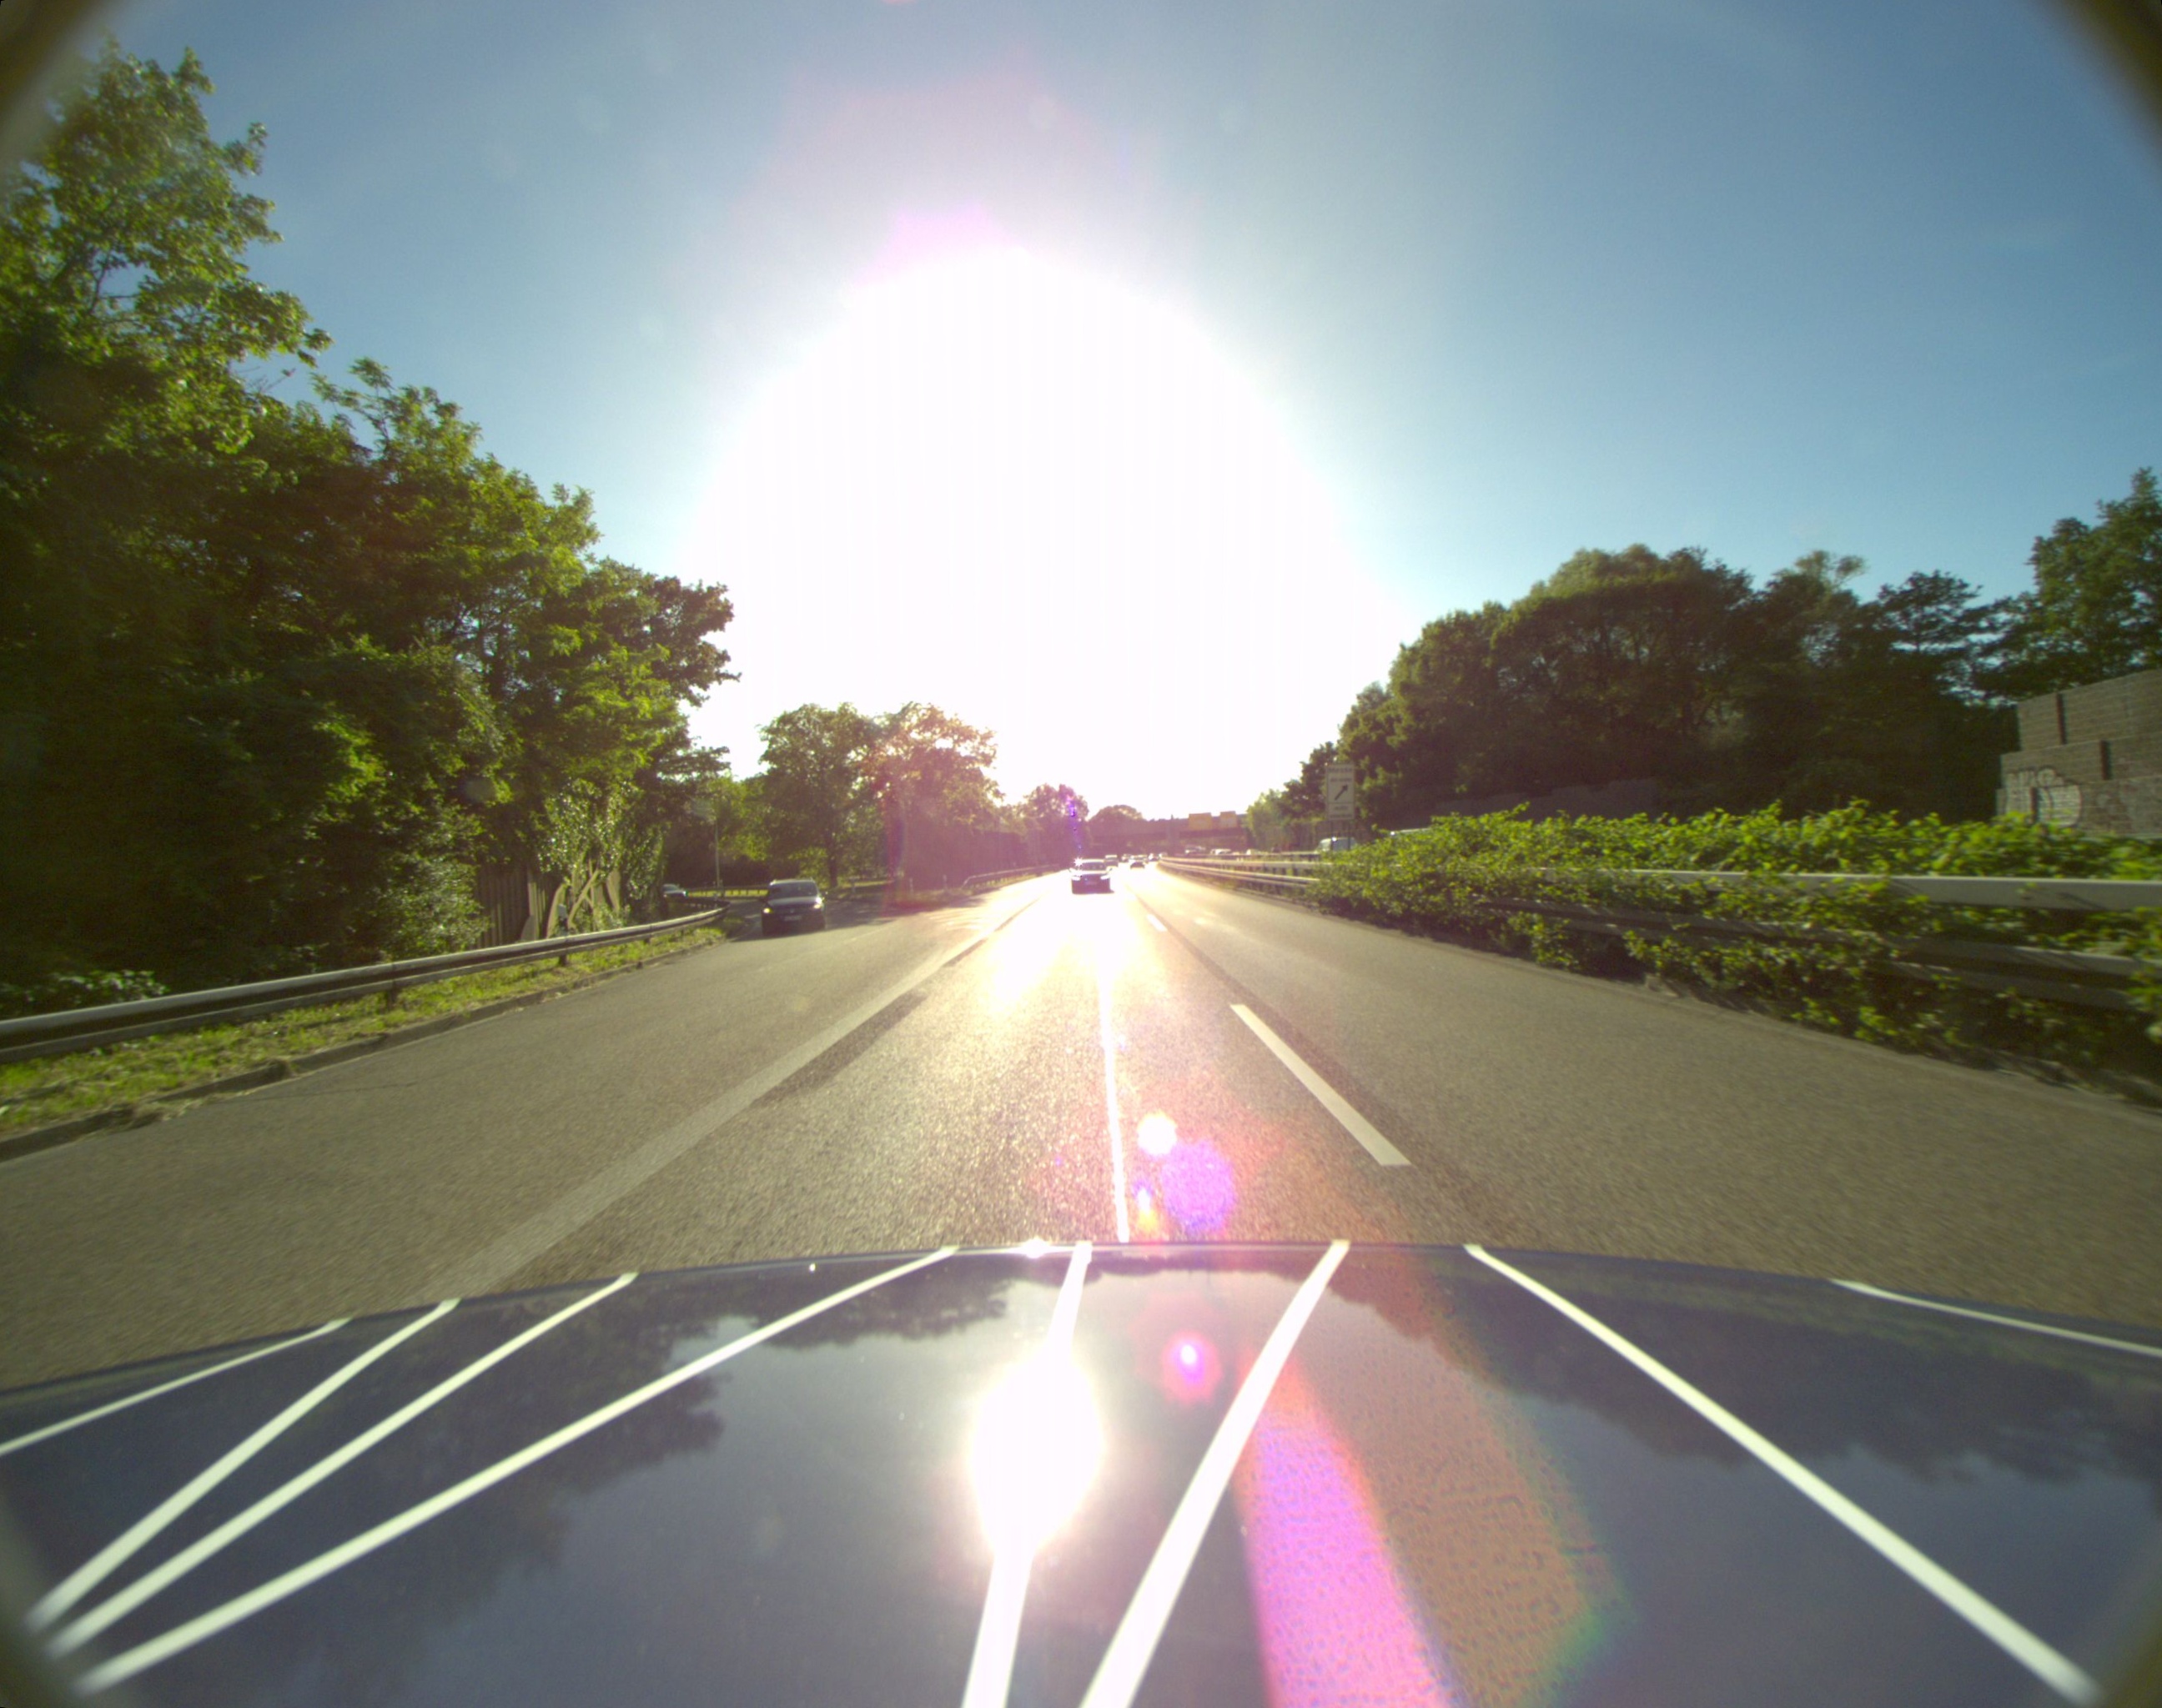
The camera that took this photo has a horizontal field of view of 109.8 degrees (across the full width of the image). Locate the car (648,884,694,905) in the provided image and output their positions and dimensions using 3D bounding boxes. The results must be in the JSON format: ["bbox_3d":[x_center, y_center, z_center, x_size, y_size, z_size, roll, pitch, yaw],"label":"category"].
[{"bbox_3d":[-30.814,3.070,57.048,3.990,1.277,1.645,-6,-1,40],"label":"car"}]

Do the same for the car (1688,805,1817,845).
[{"bbox_3d":[29.363,-1.260,33.422,4.087,1.326,2.006,-6,-1,38],"label":"car"}]

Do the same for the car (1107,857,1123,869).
[{"bbox_3d":[4.653,1.198,103.828,1.998,1.406,4.832,-4,0,4],"label":"car"}]

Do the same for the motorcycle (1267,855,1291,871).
[{"bbox_3d":[12.412,0.555,47.755,0.813,0.887,2.474,-5,-1,1],"label":"motorcycle"}]

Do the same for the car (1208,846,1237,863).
[{"bbox_3d":[13.424,0.079,72.132,1.826,1.471,4.622,-5,-1,1],"label":"car"}]

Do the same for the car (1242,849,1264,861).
[{"bbox_3d":[22.151,0.171,98.001,1.998,1.379,4.030,-5,-1,3],"label":"car"}]

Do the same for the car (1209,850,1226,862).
[{"bbox_3d":[21.459,0.323,119.577,1.906,1.610,4.697,-5,-1,3],"label":"car"}]

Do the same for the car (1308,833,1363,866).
[{"bbox_3d":[15.690,-0.253,47.032,1.826,1.810,4.622,-5,-1,2],"label":"car"}]

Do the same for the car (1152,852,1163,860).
[{"bbox_3d":[15.459,0.318,153.095,1.998,1.406,4.833,-4,0,6],"label":"car"}]

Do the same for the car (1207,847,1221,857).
[{"bbox_3d":[24.067,-0.328,137.572,1.998,1.586,4.623,-5,-1,5],"label":"car"}]

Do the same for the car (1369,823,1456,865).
[{"bbox_3d":[21.246,-0.589,48.985,2.084,2.267,5.369,-5,-1,-15],"label":"car"}]

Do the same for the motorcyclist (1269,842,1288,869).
[{"bbox_3d":[12.376,0.118,47.645,0.824,1.616,1.046,-5,0,1],"label":"motorcyclist"}]

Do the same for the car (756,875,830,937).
[{"bbox_3d":[-9.083,1.604,24.264,1.748,1.652,3.996,-5,-1,-16],"label":"car"}]

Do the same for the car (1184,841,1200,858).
[{"bbox_3d":[19.464,-0.757,133.217,2.126,2.667,6.590,-5,-1,5],"label":"car"}]

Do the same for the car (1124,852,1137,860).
[{"bbox_3d":[9.572,0.423,145.672,1.997,1.406,4.834,-4,0,9],"label":"car"}]

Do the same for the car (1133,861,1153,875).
[{"bbox_3d":[7.065,1.578,86.972,1.998,1.406,4.832,-4,0,3],"label":"car"}]

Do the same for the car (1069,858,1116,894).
[{"bbox_3d":[0.620,0.975,35.418,1.998,1.406,4.831,-2,0,3],"label":"car"}]
